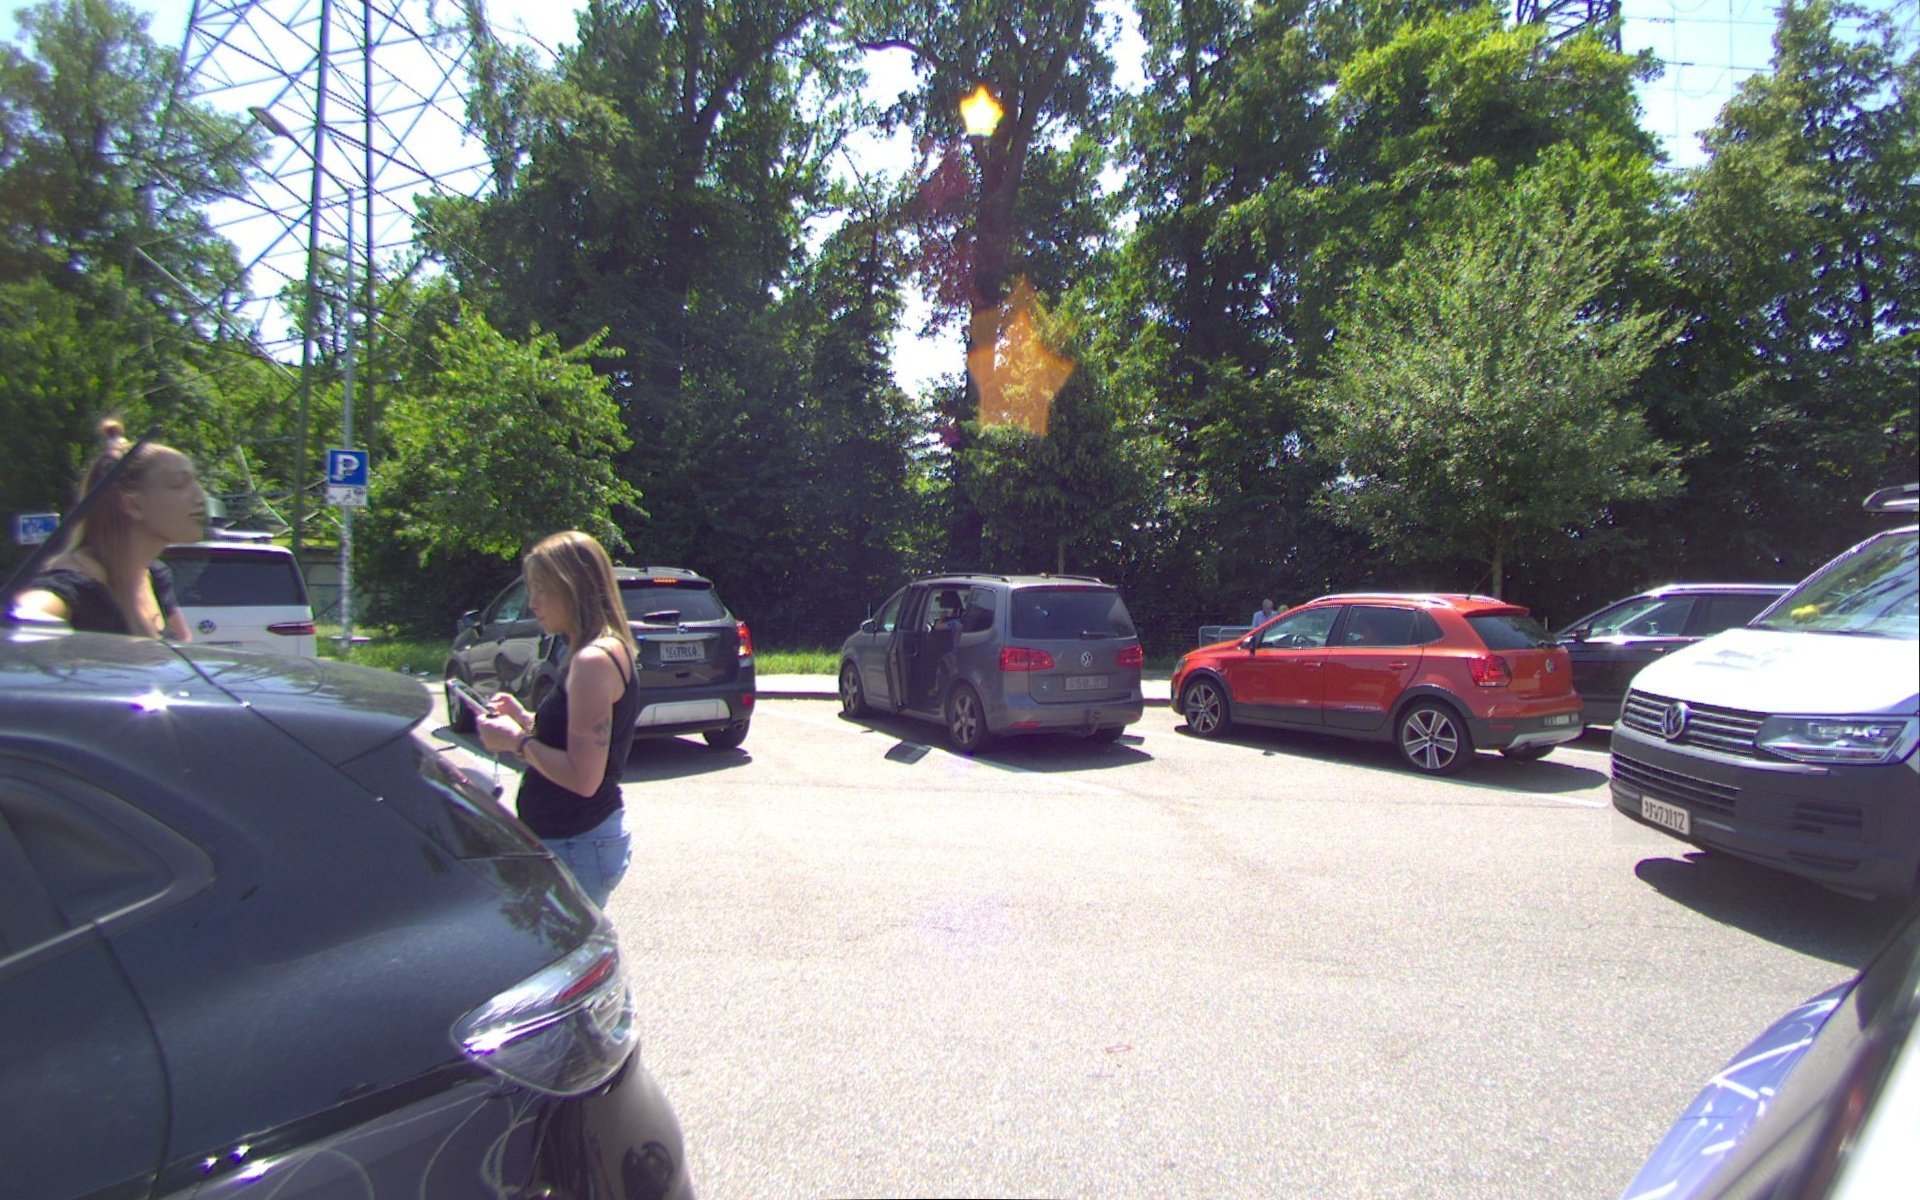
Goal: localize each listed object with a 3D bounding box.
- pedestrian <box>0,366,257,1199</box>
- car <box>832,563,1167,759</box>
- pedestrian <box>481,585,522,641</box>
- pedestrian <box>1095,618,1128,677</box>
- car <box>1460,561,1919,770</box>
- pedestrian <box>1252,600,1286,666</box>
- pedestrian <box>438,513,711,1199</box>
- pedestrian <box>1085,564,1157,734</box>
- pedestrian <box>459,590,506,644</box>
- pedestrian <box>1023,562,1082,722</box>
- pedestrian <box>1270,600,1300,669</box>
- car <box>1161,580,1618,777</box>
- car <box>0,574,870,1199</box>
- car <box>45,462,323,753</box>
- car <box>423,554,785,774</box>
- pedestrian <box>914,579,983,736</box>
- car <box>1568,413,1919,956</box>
[{"bbox_3d":[-1.994,0.490,2.397,0.478,1.883,0.913,1,-1,-33],"label":"pedestrian"},{"bbox_3d":[0.204,0.501,10.573,1.670,1.637,3.912,0,0,-30],"label":"car"},{"bbox_3d":[-11.060,0.311,24.414,0.539,1.318,0.758,0,0,37],"label":"pedestrian"},{"bbox_3d":[2.360,0.734,15.784,0.494,0.890,0.512,0,0,10],"label":"pedestrian"},{"bbox_3d":[7.153,0.513,9.739,1.679,1.637,3.863,1,0,-40],"label":"car"},{"bbox_3d":[5.788,0.604,18.975,0.433,1.207,0.414,0,0,-30],"label":"pedestrian"},{"bbox_3d":[-0.984,0.614,2.580,0.477,1.614,0.502,1,-1,-44],"label":"pedestrian"},{"bbox_3d":[1.694,0.496,10.661,0.576,1.744,0.483,0,0,-20],"label":"pedestrian"},{"bbox_3d":[-10.807,0.373,22.910,0.785,1.178,0.696,0,0,39],"label":"pedestrian"},{"bbox_3d":[1.036,0.453,11.359,0.500,1.744,0.438,0,0,-24],"label":"pedestrian"},{"bbox_3d":[5.780,0.612,18.019,0.348,1.207,0.367,0,0,-20],"label":"pedestrian"},{"bbox_3d":[3.845,0.592,9.641,1.588,1.485,3.751,1,0,-34],"label":"car"},{"bbox_3d":[-2.016,0.724,0.793,1.776,1.476,3.627,0,0,44],"label":"car"},{"bbox_3d":[-8.469,0.049,10.834,1.897,2.400,4.963,1,-1,-43],"label":"car"},{"bbox_3d":[-3.585,0.474,9.718,1.807,1.637,4.159,1,0,-42],"label":"car"},{"bbox_3d":[-0.119,0.553,10.107,0.510,1.516,0.561,0,0,-21],"label":"pedestrian"},{"bbox_3d":[6.125,0.349,4.708,5.336,2.131,1.842,1,1,4],"label":"car"}]
